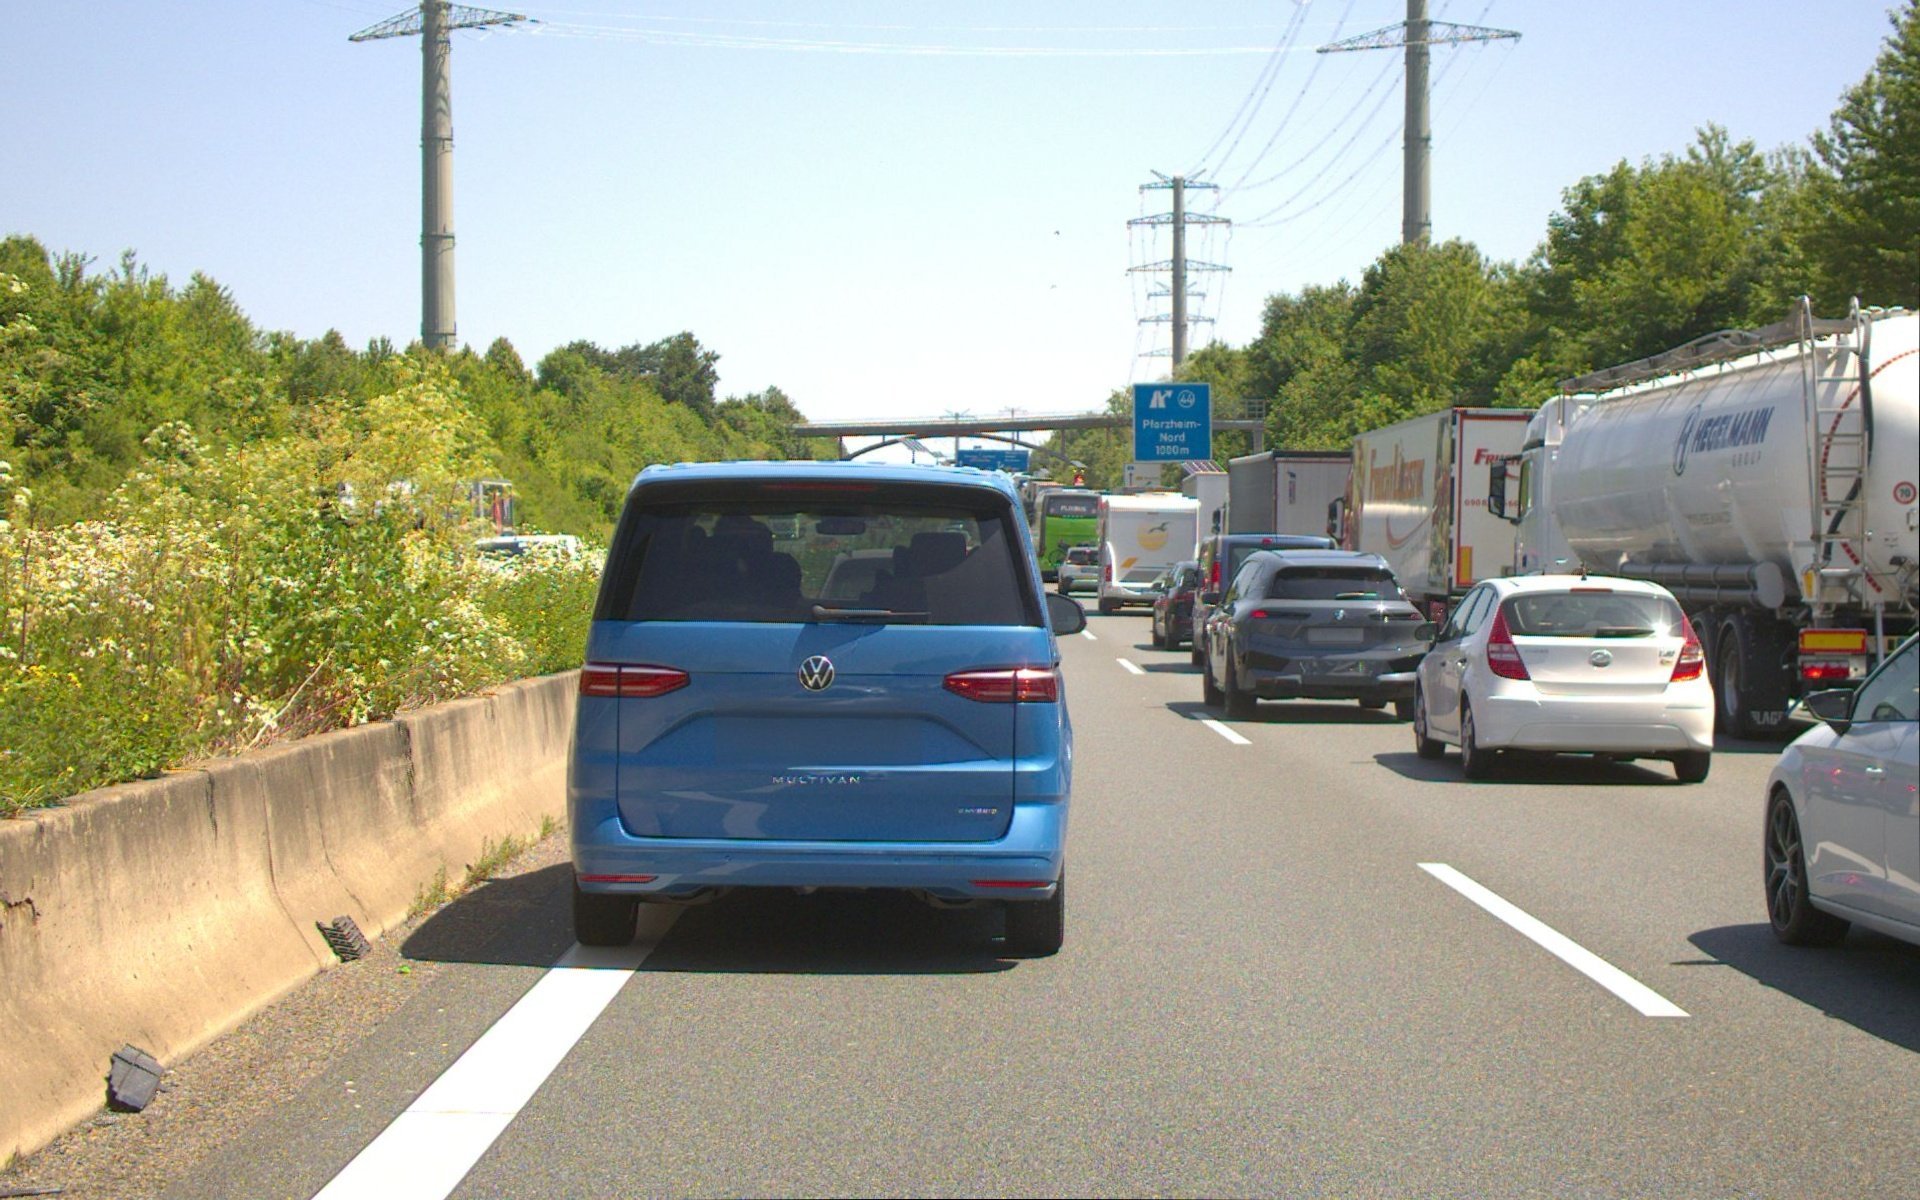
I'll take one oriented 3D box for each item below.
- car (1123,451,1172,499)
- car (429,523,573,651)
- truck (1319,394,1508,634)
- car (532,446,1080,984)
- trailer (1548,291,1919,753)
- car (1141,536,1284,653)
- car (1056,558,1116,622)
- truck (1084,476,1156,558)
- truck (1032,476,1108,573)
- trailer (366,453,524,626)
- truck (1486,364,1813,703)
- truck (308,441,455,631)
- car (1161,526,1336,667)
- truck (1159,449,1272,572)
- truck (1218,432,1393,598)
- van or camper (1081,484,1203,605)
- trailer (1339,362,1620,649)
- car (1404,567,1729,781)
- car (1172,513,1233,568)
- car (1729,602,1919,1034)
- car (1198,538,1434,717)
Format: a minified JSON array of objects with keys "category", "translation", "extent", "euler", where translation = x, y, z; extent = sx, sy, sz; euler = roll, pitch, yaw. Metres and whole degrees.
[{"category":"car","translation":[8.433,-5.608,154.819],"extent":[1.993,2.007,4.000],"euler":[0,0,0]},{"category":"car","translation":[-8.008,-0.231,60.346],"extent":[1.993,2.139,4.601],"euler":[1,0,-1]},{"category":"truck","translation":[8.725,-1.618,66.677],"extent":[2.912,4.453,5.143],"euler":[0,0,0]},{"category":"car","translation":[-0.547,0.383,14.261],"extent":[1.920,1.880,4.000],"euler":[1,1,0]},{"category":"trailer","translation":[8.280,-0.706,34.263],"extent":[2.761,3.832,11.486],"euler":[0,1,0]},{"category":"car","translation":[4.327,-0.083,59.447],"extent":[1.923,1.919,4.236],"euler":[-1,0,-3]},{"category":"car","translation":[4.044,-0.324,110.829],"extent":[1.836,1.992,4.000],"euler":[-1,0,1]},{"category":"truck","translation":[9.162,-4.708,198.158],"extent":[3.566,4.502,10.293],"euler":[0,0,0]},{"category":"truck","translation":[4.398,-3.005,139.670],"extent":[2.895,3.754,10.140],"euler":[0,0,1]},{"category":"trailer","translation":[-15.598,-1.771,104.856],"extent":[3.322,5.030,9.591],"euler":[0,0,0]},{"category":"truck","translation":[8.254,-0.776,41.790],"extent":[2.793,3.823,5.572],"euler":[0,0,0]},{"category":"truck","translation":[-15.608,-1.721,92.975],"extent":[3.302,5.033,4.033],"euler":[0,1,0]},{"category":"car","translation":[4.113,-0.041,49.672],"extent":[1.923,1.919,4.236],"euler":[-1,0,-3]},{"category":"truck","translation":[8.330,-2.838,113.533],"extent":[2.895,3.754,13.344],"euler":[0,0,1]},{"category":"truck","translation":[8.402,-1.953,85.586],"extent":[3.006,3.754,15.712],"euler":[0,0,1]},{"category":"van or camper","translation":[4.649,-1.395,89.062],"extent":[2.957,3.012,7.102],"euler":[0,0,1]},{"category":"trailer","translation":[8.778,-1.534,59.737],"extent":[2.912,4.453,12.154],"euler":[0,1,0]},{"category":"car","translation":[4.488,0.522,25.984],"extent":[1.817,1.480,4.000],"euler":[0,0,1]},{"category":"car","translation":[9.001,-2.202,127.713],"extent":[1.993,2.007,4.000],"euler":[0,0,0]},{"category":"car","translation":[4.070,0.721,12.206],"extent":[1.747,1.438,4.313],"euler":[0,0,1]},{"category":"car","translation":[3.602,0.272,35.538],"extent":[1.999,1.709,4.625],"euler":[0,0,1]}]
